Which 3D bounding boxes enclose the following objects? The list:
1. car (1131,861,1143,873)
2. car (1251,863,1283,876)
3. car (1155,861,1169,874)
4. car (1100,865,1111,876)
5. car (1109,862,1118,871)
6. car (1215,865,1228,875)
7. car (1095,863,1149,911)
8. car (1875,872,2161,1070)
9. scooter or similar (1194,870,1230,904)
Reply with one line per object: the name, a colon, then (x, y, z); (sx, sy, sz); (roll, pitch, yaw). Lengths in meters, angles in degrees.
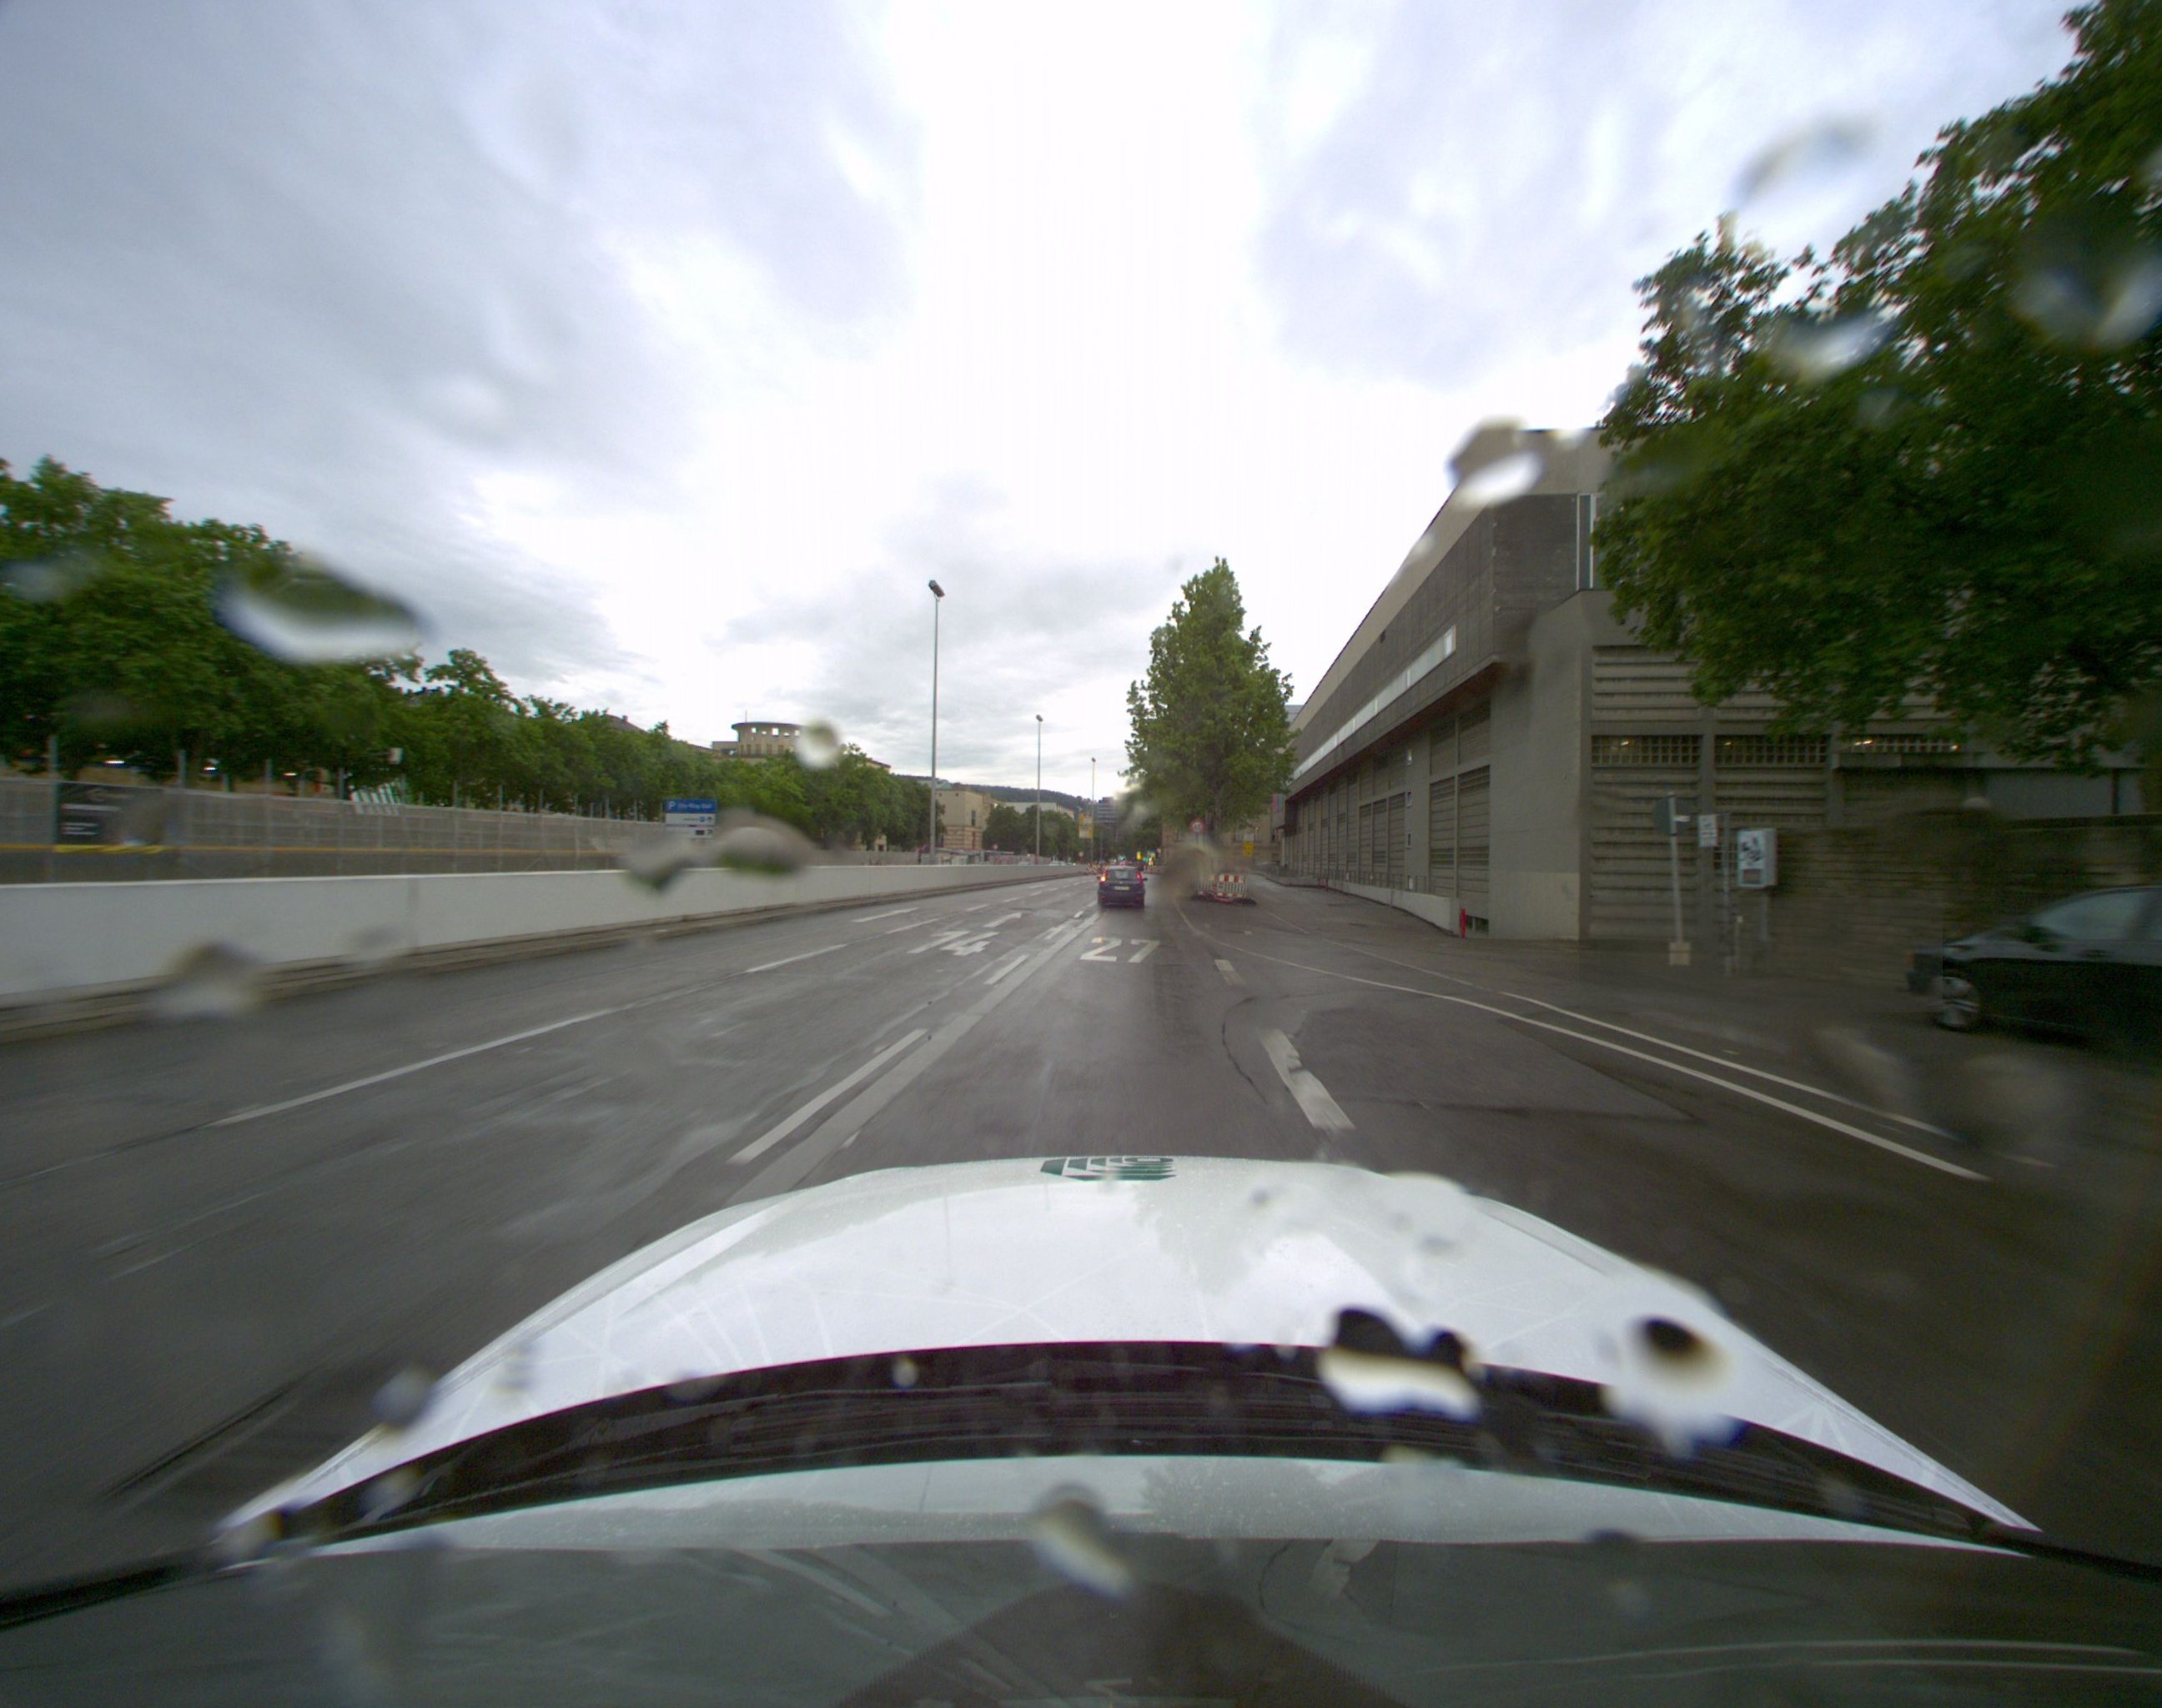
car: (10.155, 2.386, 146.893); (1.984, 2.013, 4.006); (2, 0, 6)
car: (24.318, 2.066, 106.504); (3.966, 1.560, 1.936); (0, -3, 6)
car: (12.265, 2.028, 123.281); (1.984, 1.708, 4.006); (2, 0, 6)
car: (3.162, 2.135, 103.398); (1.380, 1.386, 3.068); (0, -1, 1)
car: (7.831, 2.974, 194.138); (1.986, 2.014, 4.000); (3, -2, 1)
car: (24.648, 2.801, 142.777); (1.981, 1.709, 4.011); (2, -2, 10)
car: (1.535, 1.118, 29.394); (1.662, 1.427, 3.764); (4, 1, 6)
car: (9.479, 0.942, 6.921); (1.793, 1.552, 4.337); (0, -2, 11)
scooter or similar: (5.293, 1.349, 33.038); (1.348, 1.286, 0.620); (3, -2, 7)
